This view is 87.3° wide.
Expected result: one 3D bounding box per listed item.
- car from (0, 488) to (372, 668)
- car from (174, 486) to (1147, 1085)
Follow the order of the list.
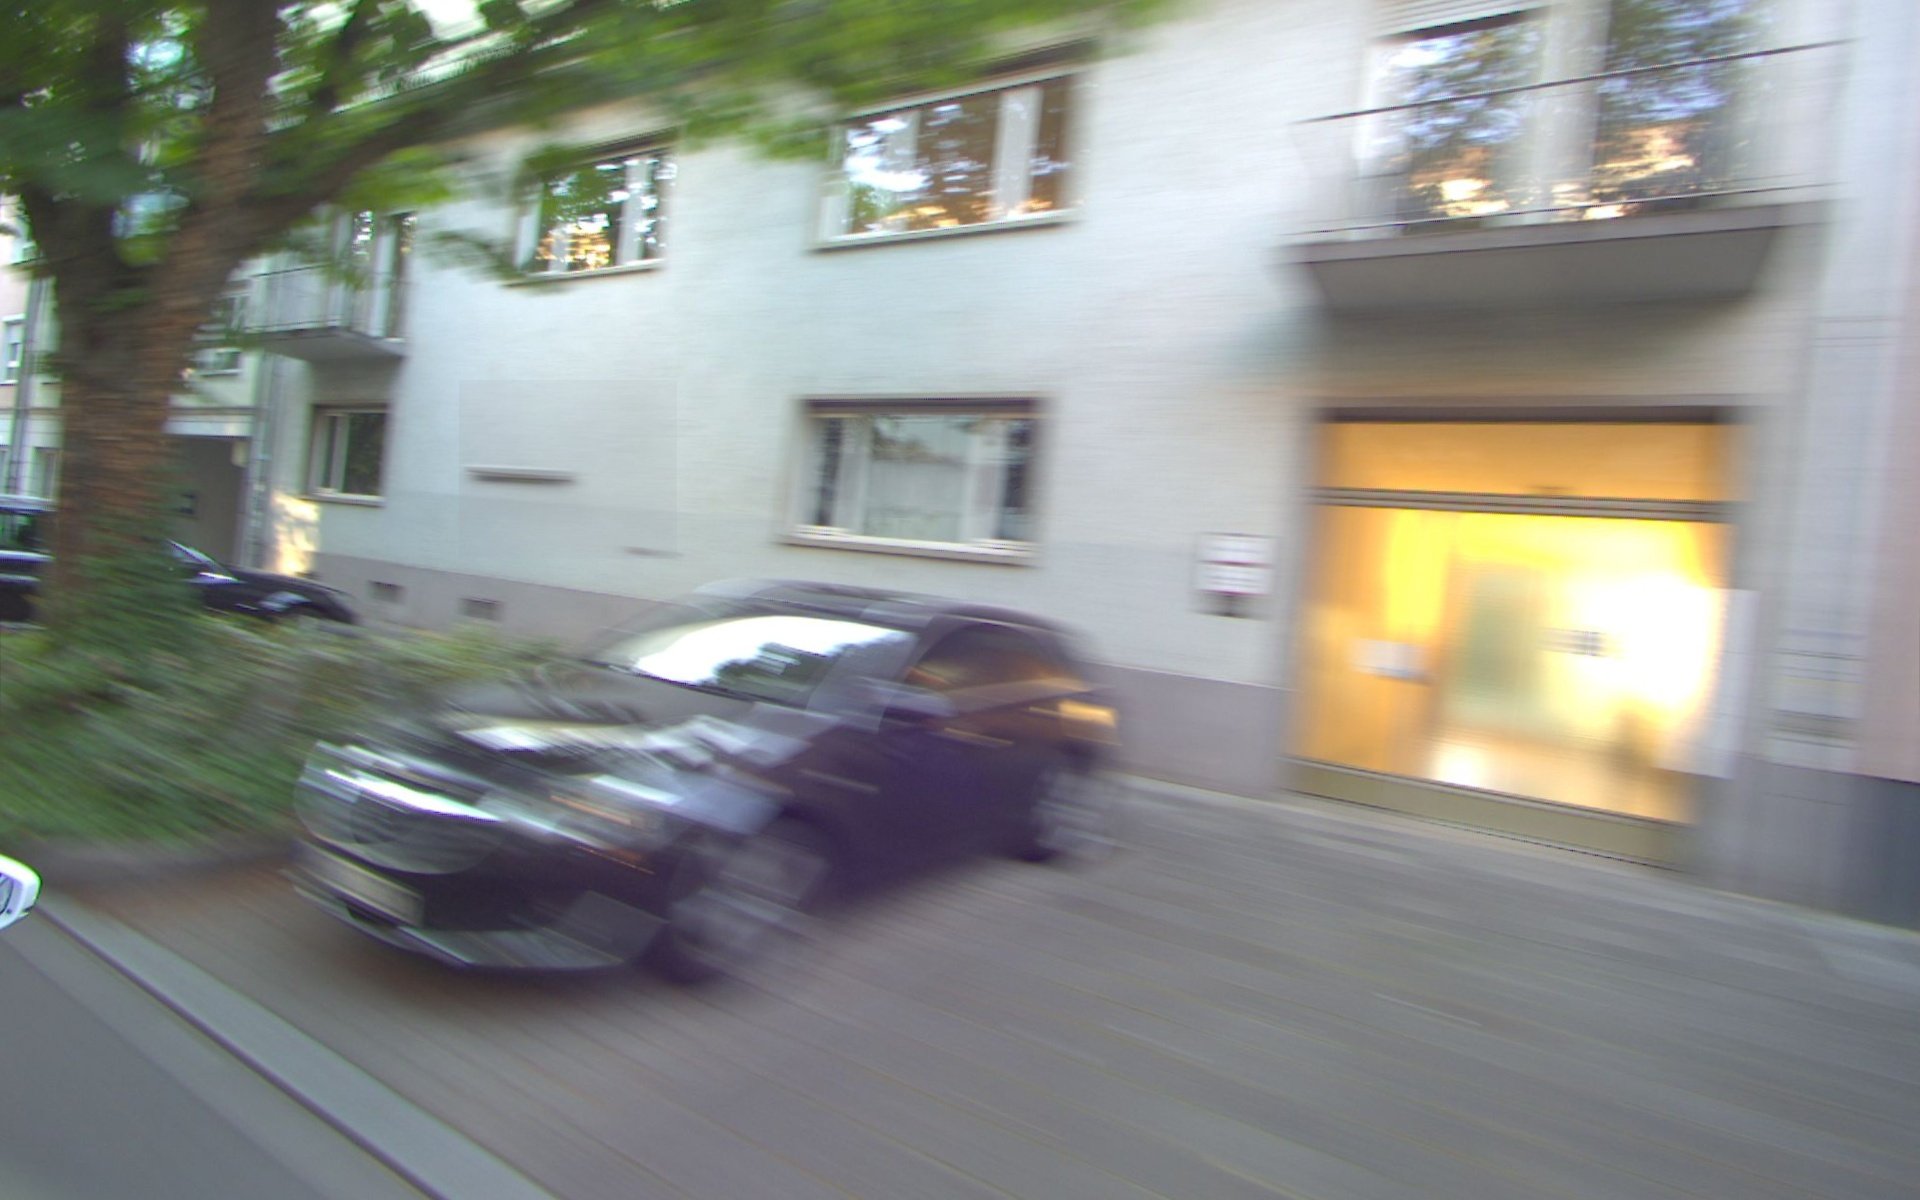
[{"bbox_3d":[-8.223,-0.222,9.382,1.704,1.489,4.355,7,1,36],"label":"car"},{"bbox_3d":[-0.864,0.592,5.086,1.920,1.542,4.450,7,0,32],"label":"car"}]
